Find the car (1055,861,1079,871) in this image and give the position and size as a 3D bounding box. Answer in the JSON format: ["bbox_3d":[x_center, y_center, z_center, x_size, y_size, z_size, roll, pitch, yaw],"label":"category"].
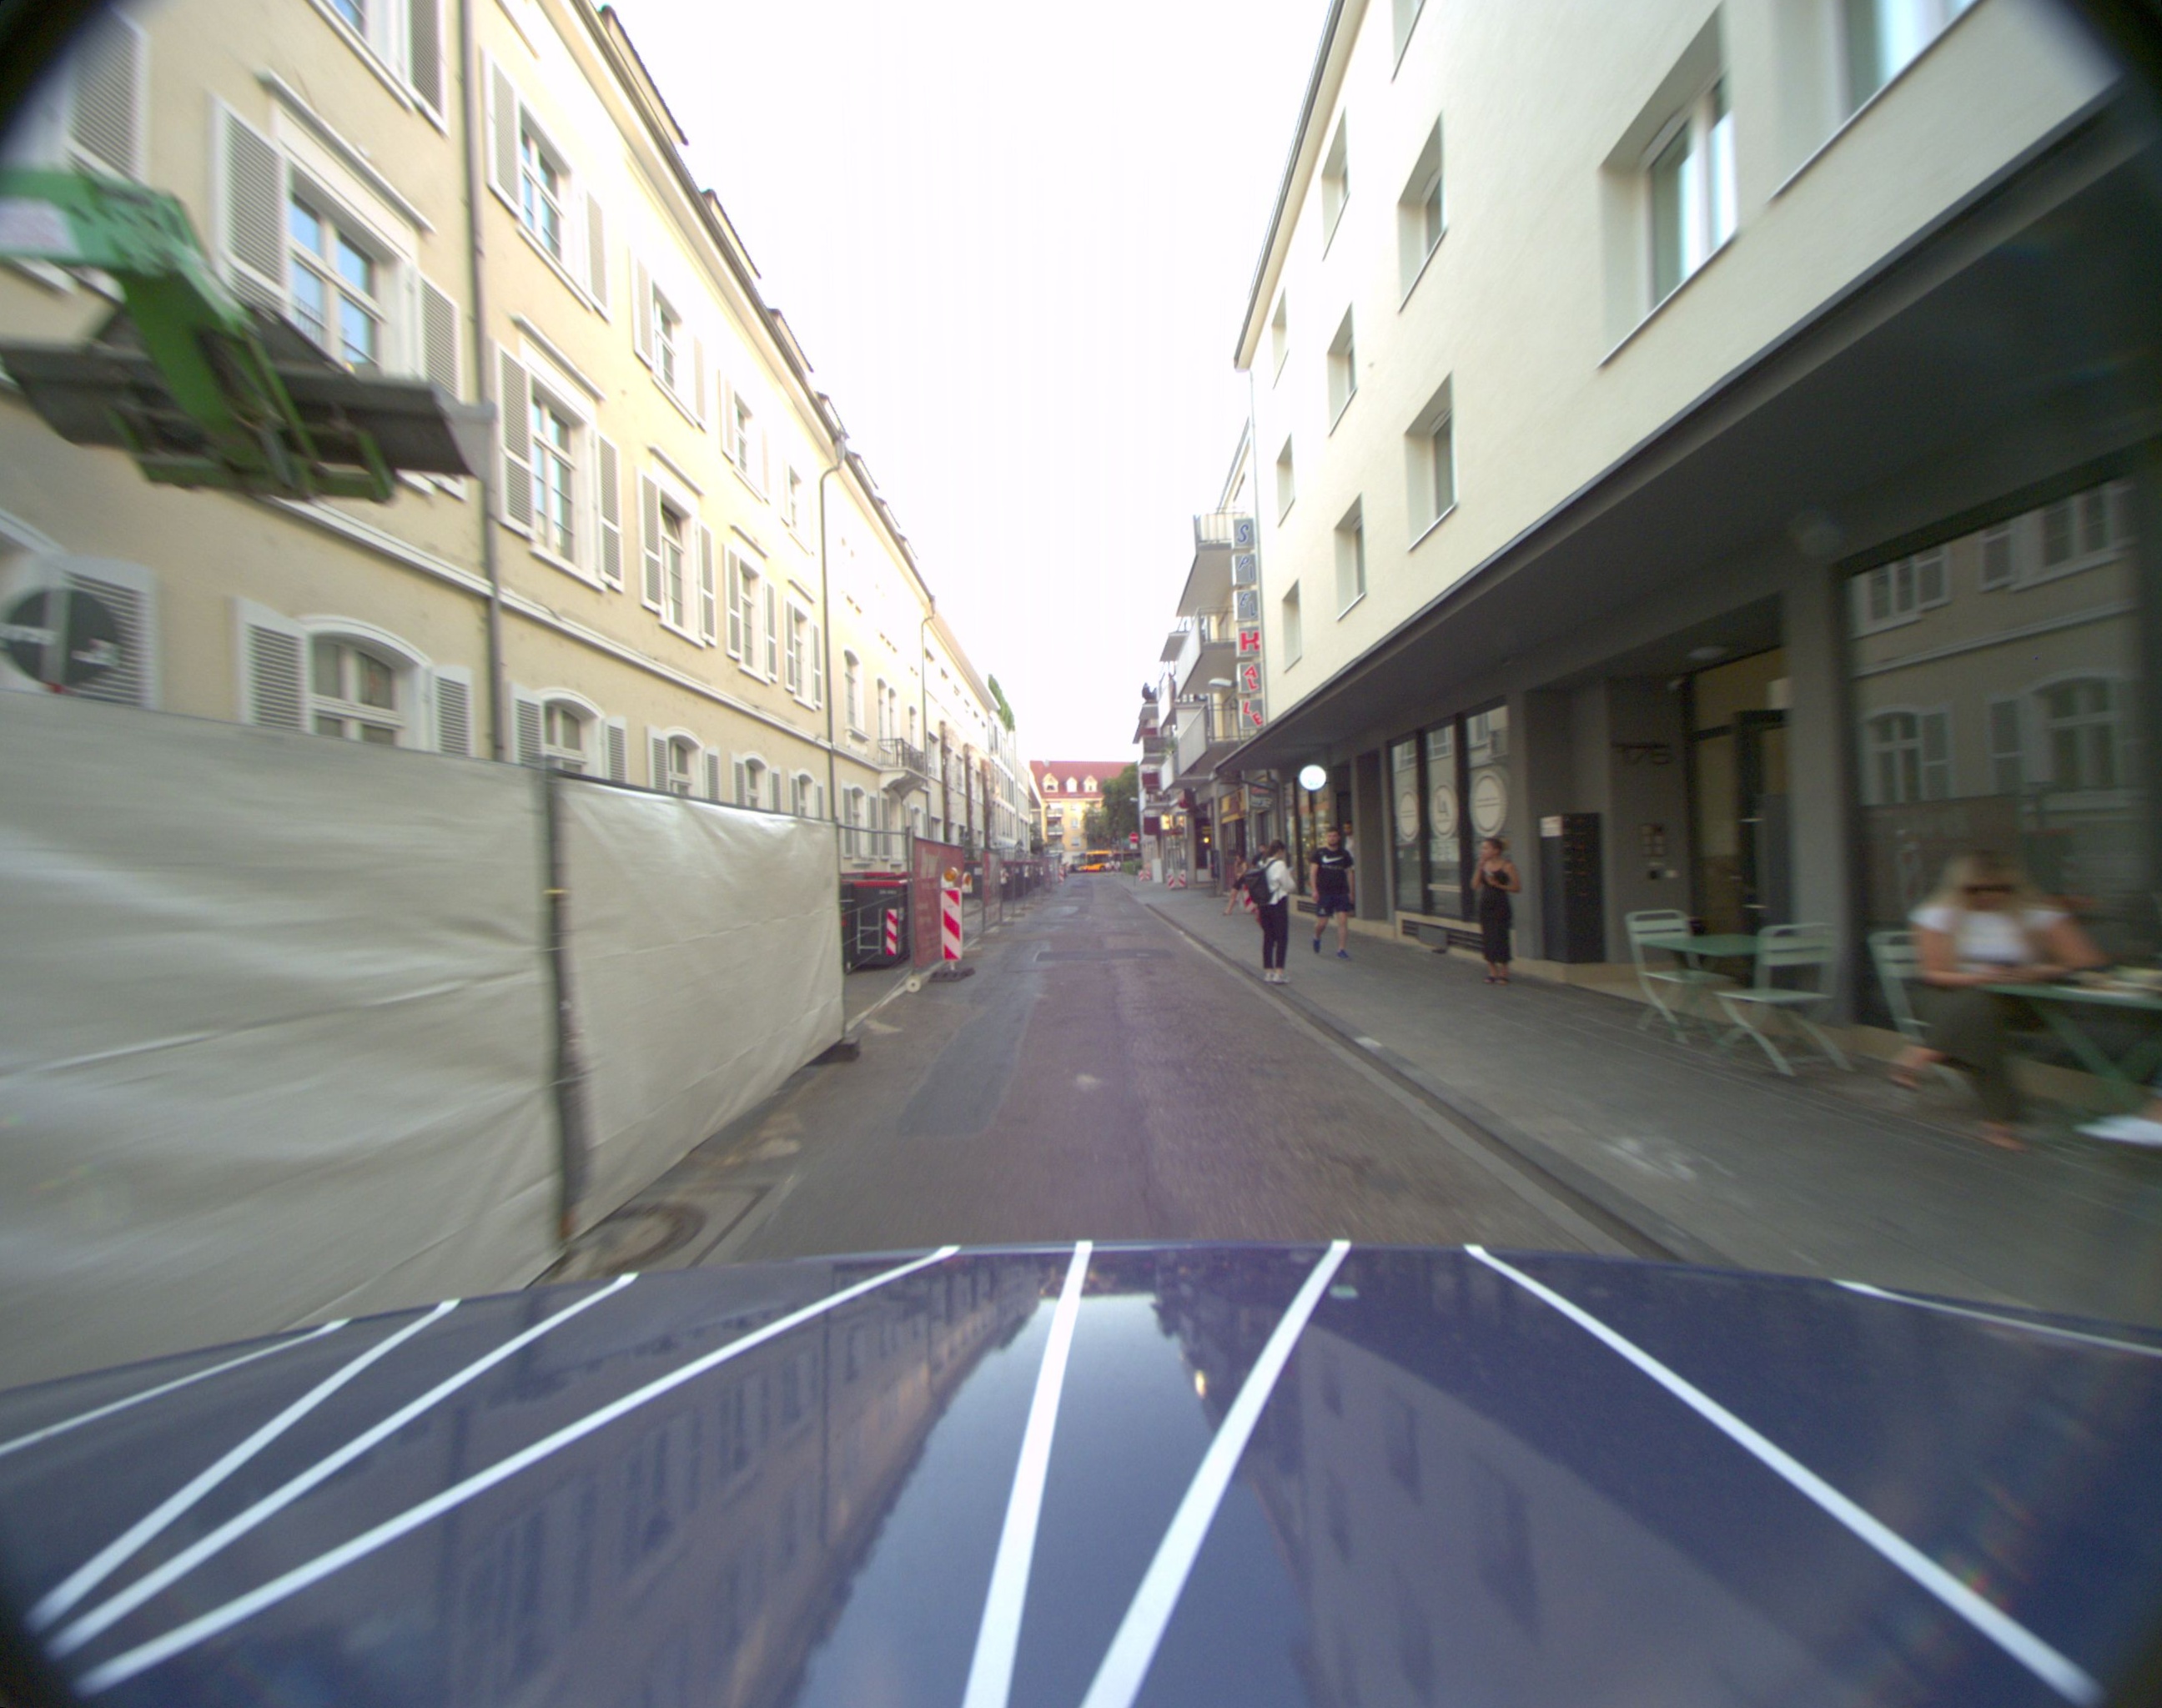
[{"bbox_3d":[-2.157,1.847,116.242,1.795,1.466,3.990,-1,0,-32],"label":"car"}]

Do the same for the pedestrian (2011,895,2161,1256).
[{"bbox_3d":[4.322,0.829,2.854,0.707,1.278,0.859,-3,0,-24],"label":"pedestrian"}]

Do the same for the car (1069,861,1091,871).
[{"bbox_3d":[-0.136,1.790,117.416,1.795,1.466,3.991,-1,0,-27],"label":"car"}]

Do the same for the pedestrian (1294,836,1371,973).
[{"bbox_3d":[3.472,0.675,10.563,0.716,1.800,0.933,-2,0,1],"label":"pedestrian"}]

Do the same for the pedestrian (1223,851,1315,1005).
[{"bbox_3d":[2.242,0.834,9.061,0.786,1.729,0.757,0,0,-44],"label":"pedestrian"}]

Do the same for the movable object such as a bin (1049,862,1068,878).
[{"bbox_3d":[-1.966,1.407,67.455,1.493,1.285,3.779,-3,0,1],"label":"movable object such as a bin"}]

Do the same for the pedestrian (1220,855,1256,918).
[{"bbox_3d":[4.097,0.834,19.842,0.710,1.569,0.613,-4,0,-2],"label":"pedestrian"}]

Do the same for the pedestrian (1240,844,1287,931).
[{"bbox_3d":[3.895,0.697,16.242,0.706,1.771,0.933,-3,0,0],"label":"pedestrian"}]

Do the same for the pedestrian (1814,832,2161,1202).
[{"bbox_3d":[4.273,0.691,3.621,0.705,1.538,0.861,-3,0,8],"label":"pedestrian"}]

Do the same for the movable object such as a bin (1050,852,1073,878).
[{"bbox_3d":[-2.094,1.200,82.974,2.096,2.631,4.373,-3,0,1],"label":"movable object such as a bin"}]

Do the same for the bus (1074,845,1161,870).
[{"bbox_3d":[5.506,0.485,114.401,12.548,3.306,3.917,-2,1,-24],"label":"bus"}]

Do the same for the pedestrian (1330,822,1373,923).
[{"bbox_3d":[4.959,0.340,13.937,0.545,1.800,0.613,-1,0,0],"label":"pedestrian"}]

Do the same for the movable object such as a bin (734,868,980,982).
[{"bbox_3d":[-3.982,1.175,15.513,2.898,1.655,7.294,-1,-1,-1],"label":"movable object such as a bin"}]

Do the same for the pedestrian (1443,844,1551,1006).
[{"bbox_3d":[4.322,0.711,7.919,0.659,1.560,0.637,-4,0,-25],"label":"pedestrian"}]
